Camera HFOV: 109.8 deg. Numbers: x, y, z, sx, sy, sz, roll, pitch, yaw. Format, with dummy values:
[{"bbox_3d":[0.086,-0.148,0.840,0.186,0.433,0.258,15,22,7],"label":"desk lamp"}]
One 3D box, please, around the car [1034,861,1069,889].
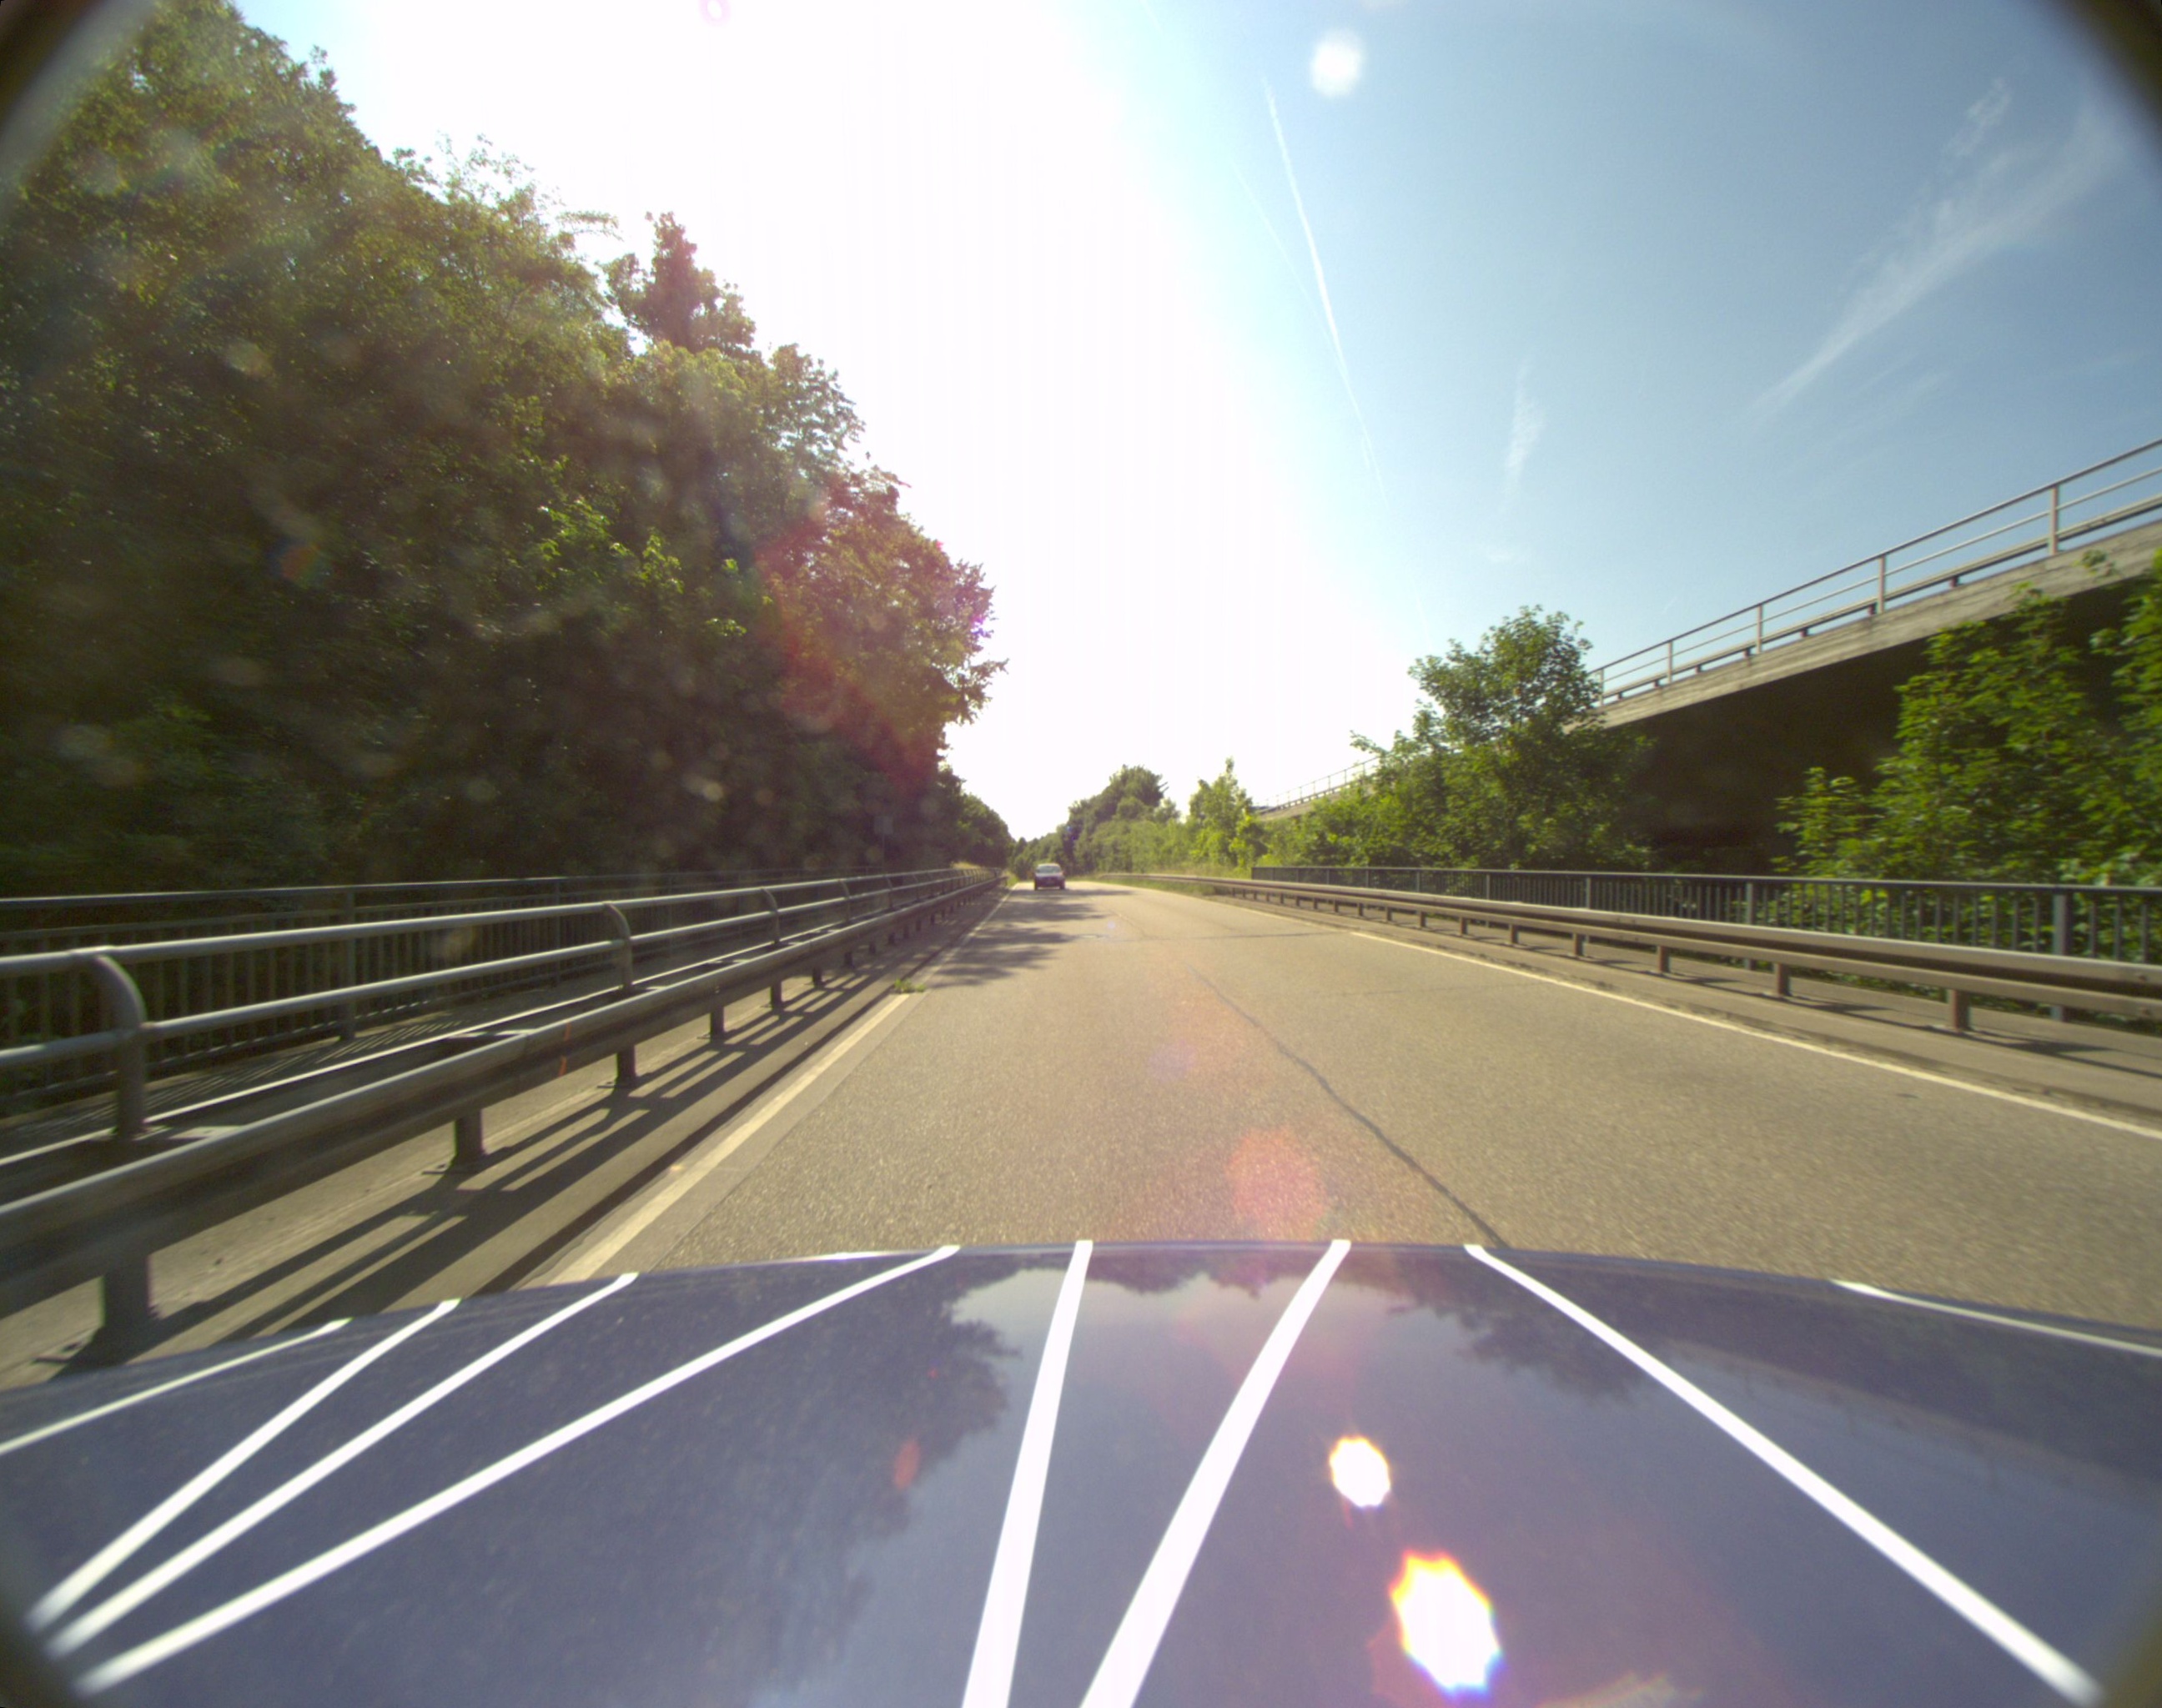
[{"bbox_3d":[-1.775,1.204,44.594,1.817,1.488,4.283,-1,0,-5],"label":"car"}]
